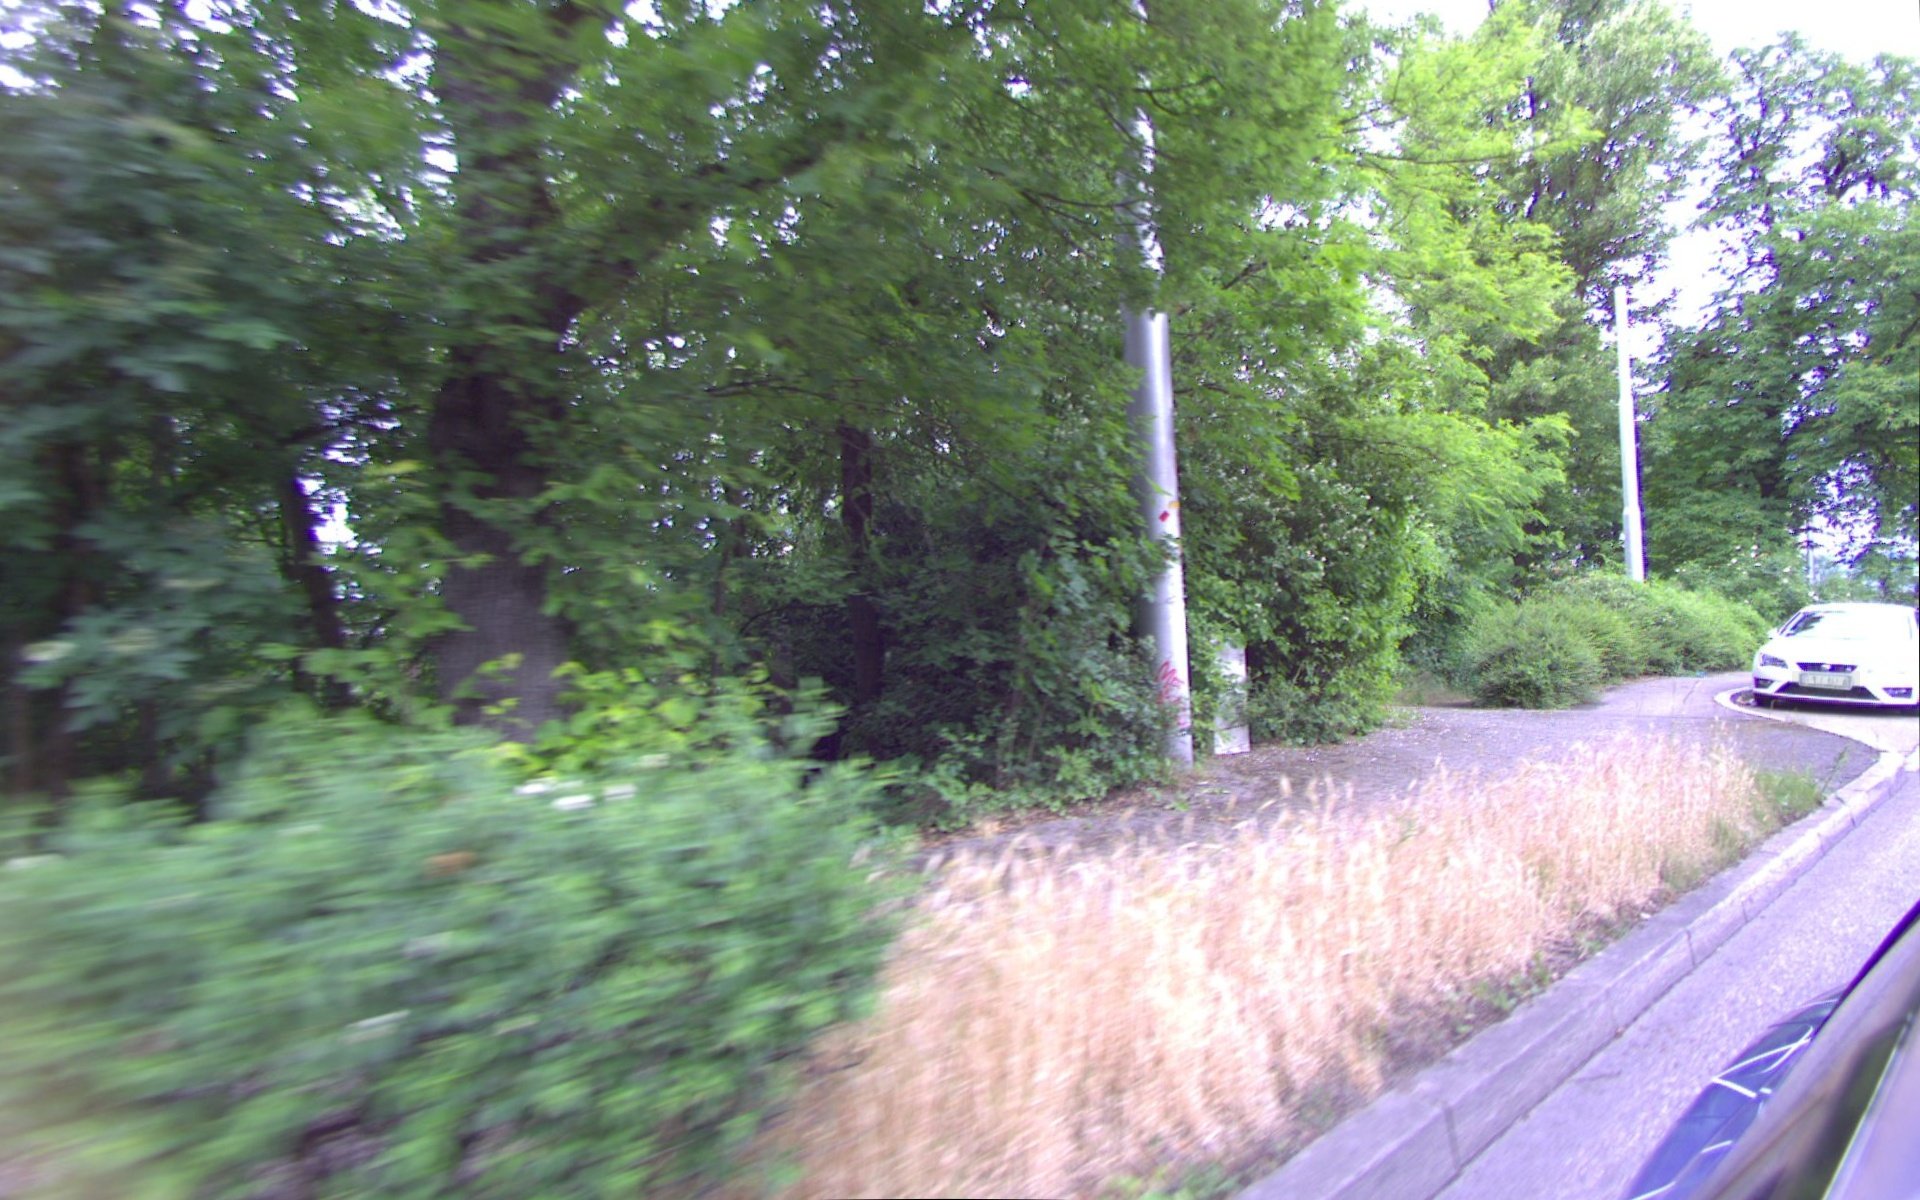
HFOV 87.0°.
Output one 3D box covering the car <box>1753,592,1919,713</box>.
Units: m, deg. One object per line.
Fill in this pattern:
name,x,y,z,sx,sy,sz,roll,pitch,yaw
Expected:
car,12.766,0.658,14.259,3.823,1.459,1.764,1,1,-40
